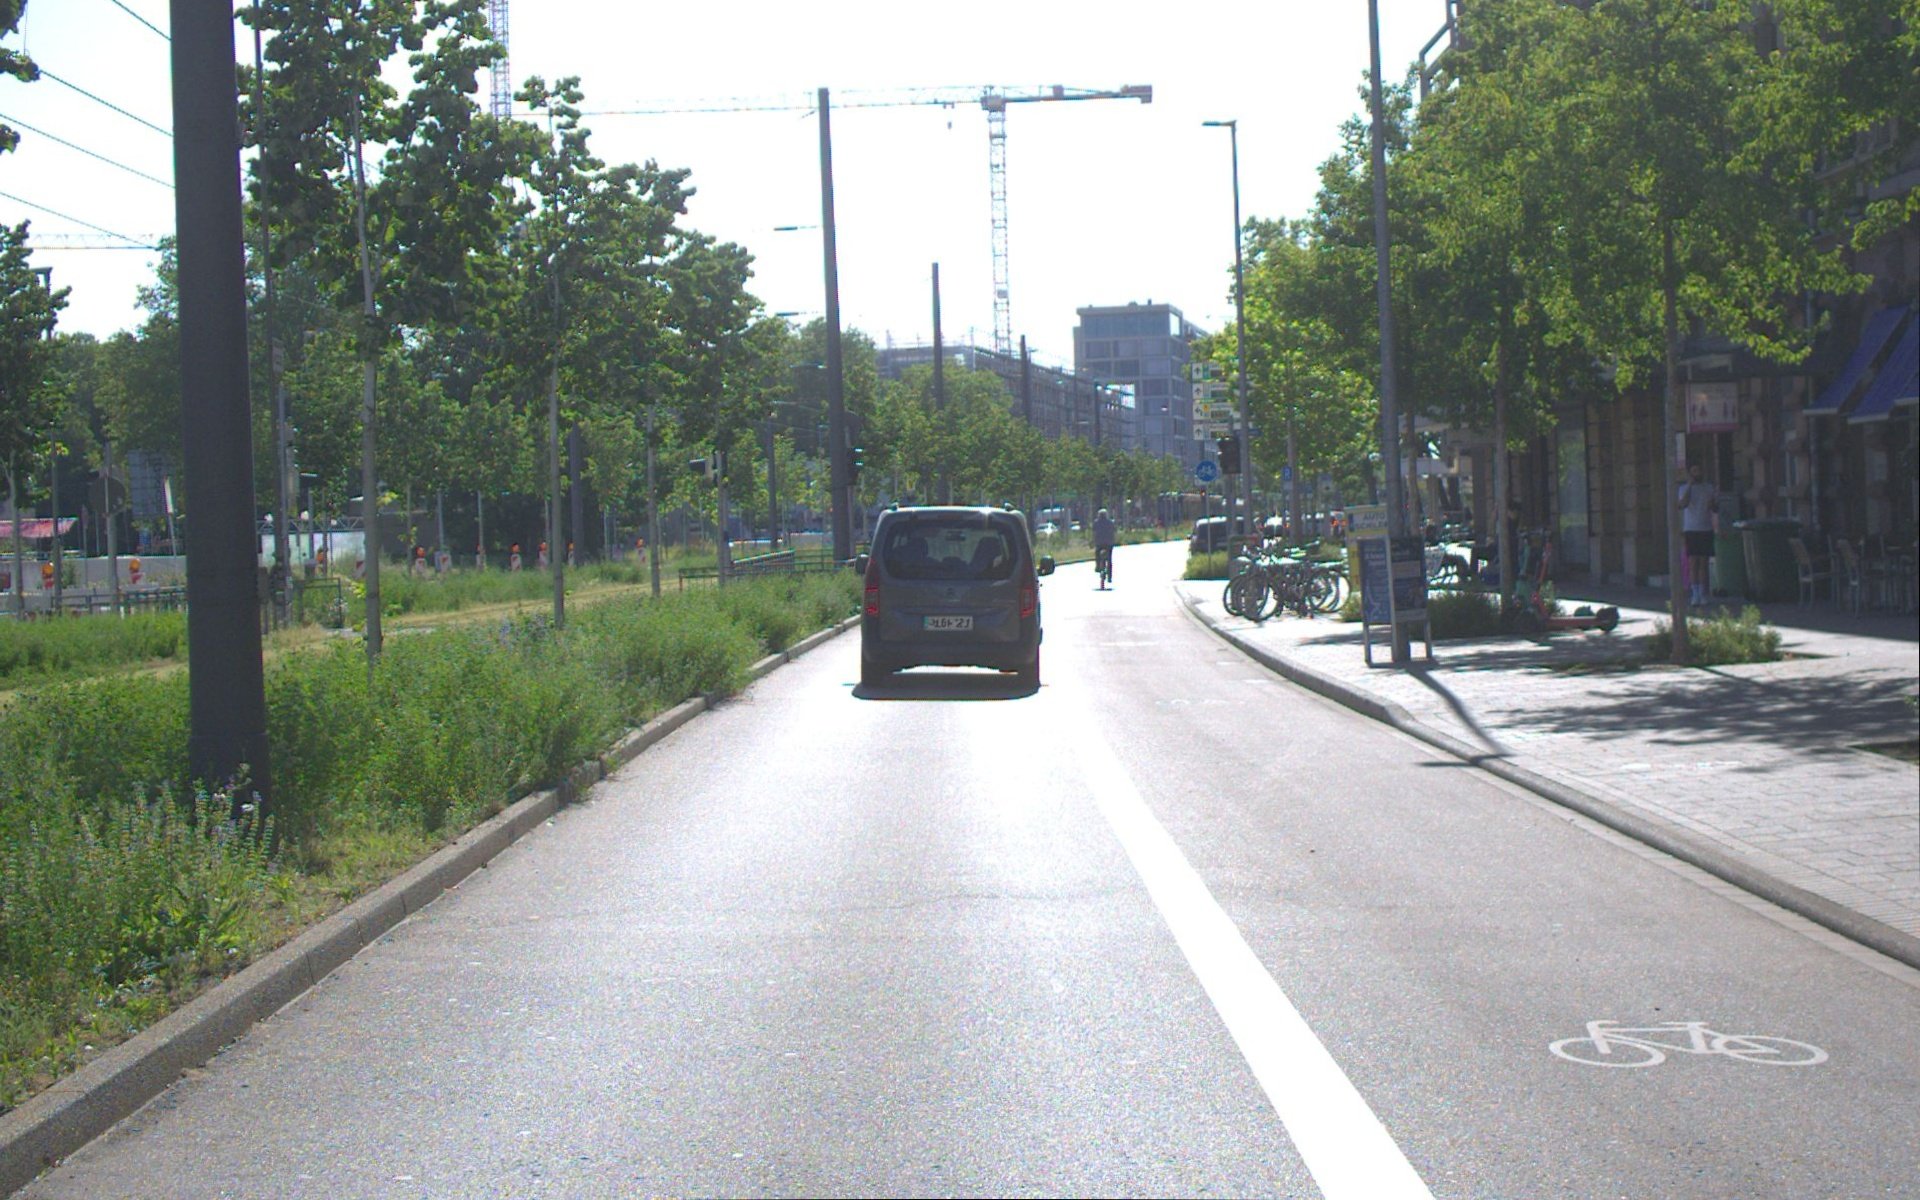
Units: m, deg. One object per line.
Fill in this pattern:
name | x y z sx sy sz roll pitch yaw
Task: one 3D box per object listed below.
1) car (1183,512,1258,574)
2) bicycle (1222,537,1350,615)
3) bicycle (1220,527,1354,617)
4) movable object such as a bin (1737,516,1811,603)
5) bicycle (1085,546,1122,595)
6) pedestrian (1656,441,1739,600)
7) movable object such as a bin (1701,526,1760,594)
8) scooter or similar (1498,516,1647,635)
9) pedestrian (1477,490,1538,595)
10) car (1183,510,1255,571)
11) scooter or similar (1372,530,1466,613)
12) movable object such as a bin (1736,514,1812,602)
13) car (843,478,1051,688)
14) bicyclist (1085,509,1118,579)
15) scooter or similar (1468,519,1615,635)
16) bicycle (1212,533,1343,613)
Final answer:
car | 7.176 -1.550 94.318 1.989 1.632 4.189 -1 0 5
bicycle | 5.090 -0.377 53.695 1.824 1.075 0.665 -5 1 -6
bicycle | 4.963 -0.425 52.160 1.878 1.229 0.500 -4 1 -5
movable object such as a bin | 10.572 -0.529 44.674 0.725 1.094 0.748 -2 1 -4
bicycle | 3.247 -0.682 78.054 0.701 1.087 2.277 -1 1 -1
pedestrian | 9.528 -1.013 44.444 0.817 2.007 1.046 -1 -1 0
movable object such as a bin | 10.578 -0.557 47.208 0.604 0.913 0.650 -2 1 -4
scooter or similar | 6.867 -0.281 38.557 1.473 1.212 0.602 -4 2 -4
pedestrian | 9.337 -0.977 58.666 0.844 1.736 0.886 -3 0 1
car | 7.601 -1.726 100.631 2.022 1.716 4.118 -1 0 5
scooter or similar | 6.571 -0.409 49.302 1.220 1.102 0.783 -3 2 3
movable object such as a bin | 10.390 -0.538 43.907 0.725 1.094 0.748 -2 1 -4
car | -0.102 -0.183 35.155 1.993 2.007 4.000 -1 0 1
bicyclist | 3.220 -1.273 78.121 0.683 1.579 0.840 -1 1 -1
scooter or similar | 6.651 -0.273 39.320 1.473 1.212 0.602 -4 2 -10
bicycle | 5.098 -0.435 55.211 1.915 1.117 0.665 -5 1 -6
